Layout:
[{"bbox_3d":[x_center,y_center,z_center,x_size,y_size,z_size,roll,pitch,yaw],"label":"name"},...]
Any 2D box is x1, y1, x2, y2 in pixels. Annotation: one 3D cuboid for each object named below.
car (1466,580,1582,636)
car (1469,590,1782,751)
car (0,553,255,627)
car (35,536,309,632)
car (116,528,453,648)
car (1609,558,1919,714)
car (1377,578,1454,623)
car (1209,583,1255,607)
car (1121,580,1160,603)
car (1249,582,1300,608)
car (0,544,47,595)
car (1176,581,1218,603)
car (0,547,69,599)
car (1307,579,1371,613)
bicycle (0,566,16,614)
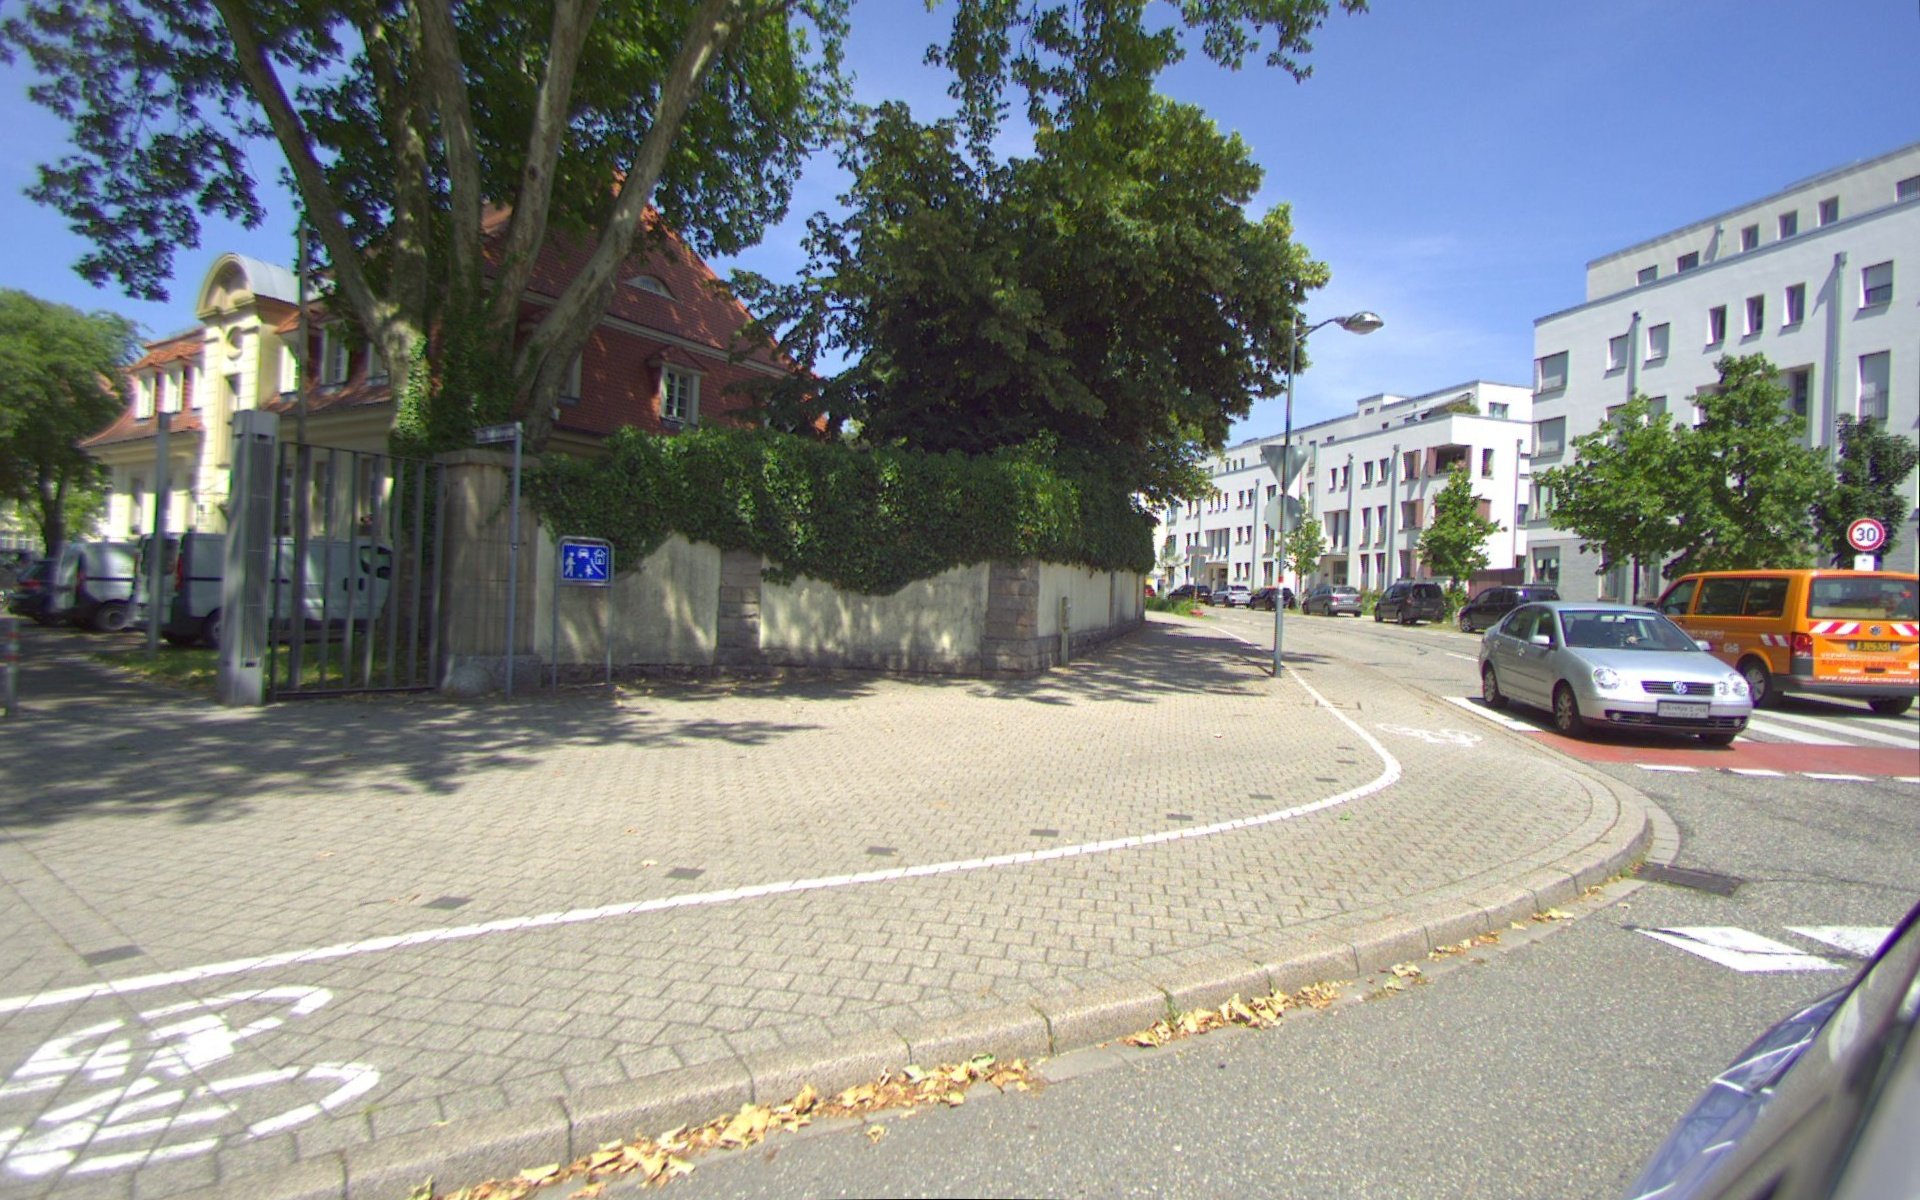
[{"bbox_3d":[18.470,0.201,33.359,1.669,1.657,4.018,2,2,3],"label":"car"},{"bbox_3d":[7.585,0.670,12.031,1.582,1.469,3.990,2,2,10],"label":"car"},{"bbox_3d":[-18.857,-0.250,23.024,1.798,1.503,4.281,2,2,33],"label":"car"},{"bbox_3d":[-16.662,-0.362,21.631,1.828,1.833,4.283,2,2,31],"label":"car"},{"bbox_3d":[-12.233,-0.257,18.704,1.961,1.910,4.811,2,2,31],"label":"car"},{"bbox_3d":[12.251,0.393,15.456,1.917,1.984,5.012,0,1,7],"label":"car"},{"bbox_3d":[18.898,-0.036,42.118,1.669,1.721,3.625,2,2,3],"label":"car"},{"bbox_3d":[17.812,-0.371,66.430,1.673,1.431,3.727,1,2,-6],"label":"car"},{"bbox_3d":[13.007,-0.629,73.052,1.721,1.523,3.997,1,1,-5],"label":"car"},{"bbox_3d":[18.636,-0.309,60.158,1.673,1.431,3.631,1,2,-3],"label":"car"},{"bbox_3d":[-31.747,-0.993,31.983,1.802,1.632,4.038,2,2,37],"label":"car"},{"bbox_3d":[17.042,-0.602,72.879,1.672,1.431,3.728,1,2,-9],"label":"car"},{"bbox_3d":[-29.443,-0.831,30.190,1.802,1.565,4.038,2,2,37],"label":"car"},{"bbox_3d":[19.291,-0.253,51.699,1.756,1.609,3.630,1,2,-2],"label":"car"},{"bbox_3d":[-23.977,-0.267,24.731,1.970,1.147,0.698,2,1,27],"label":"bicycle"}]
